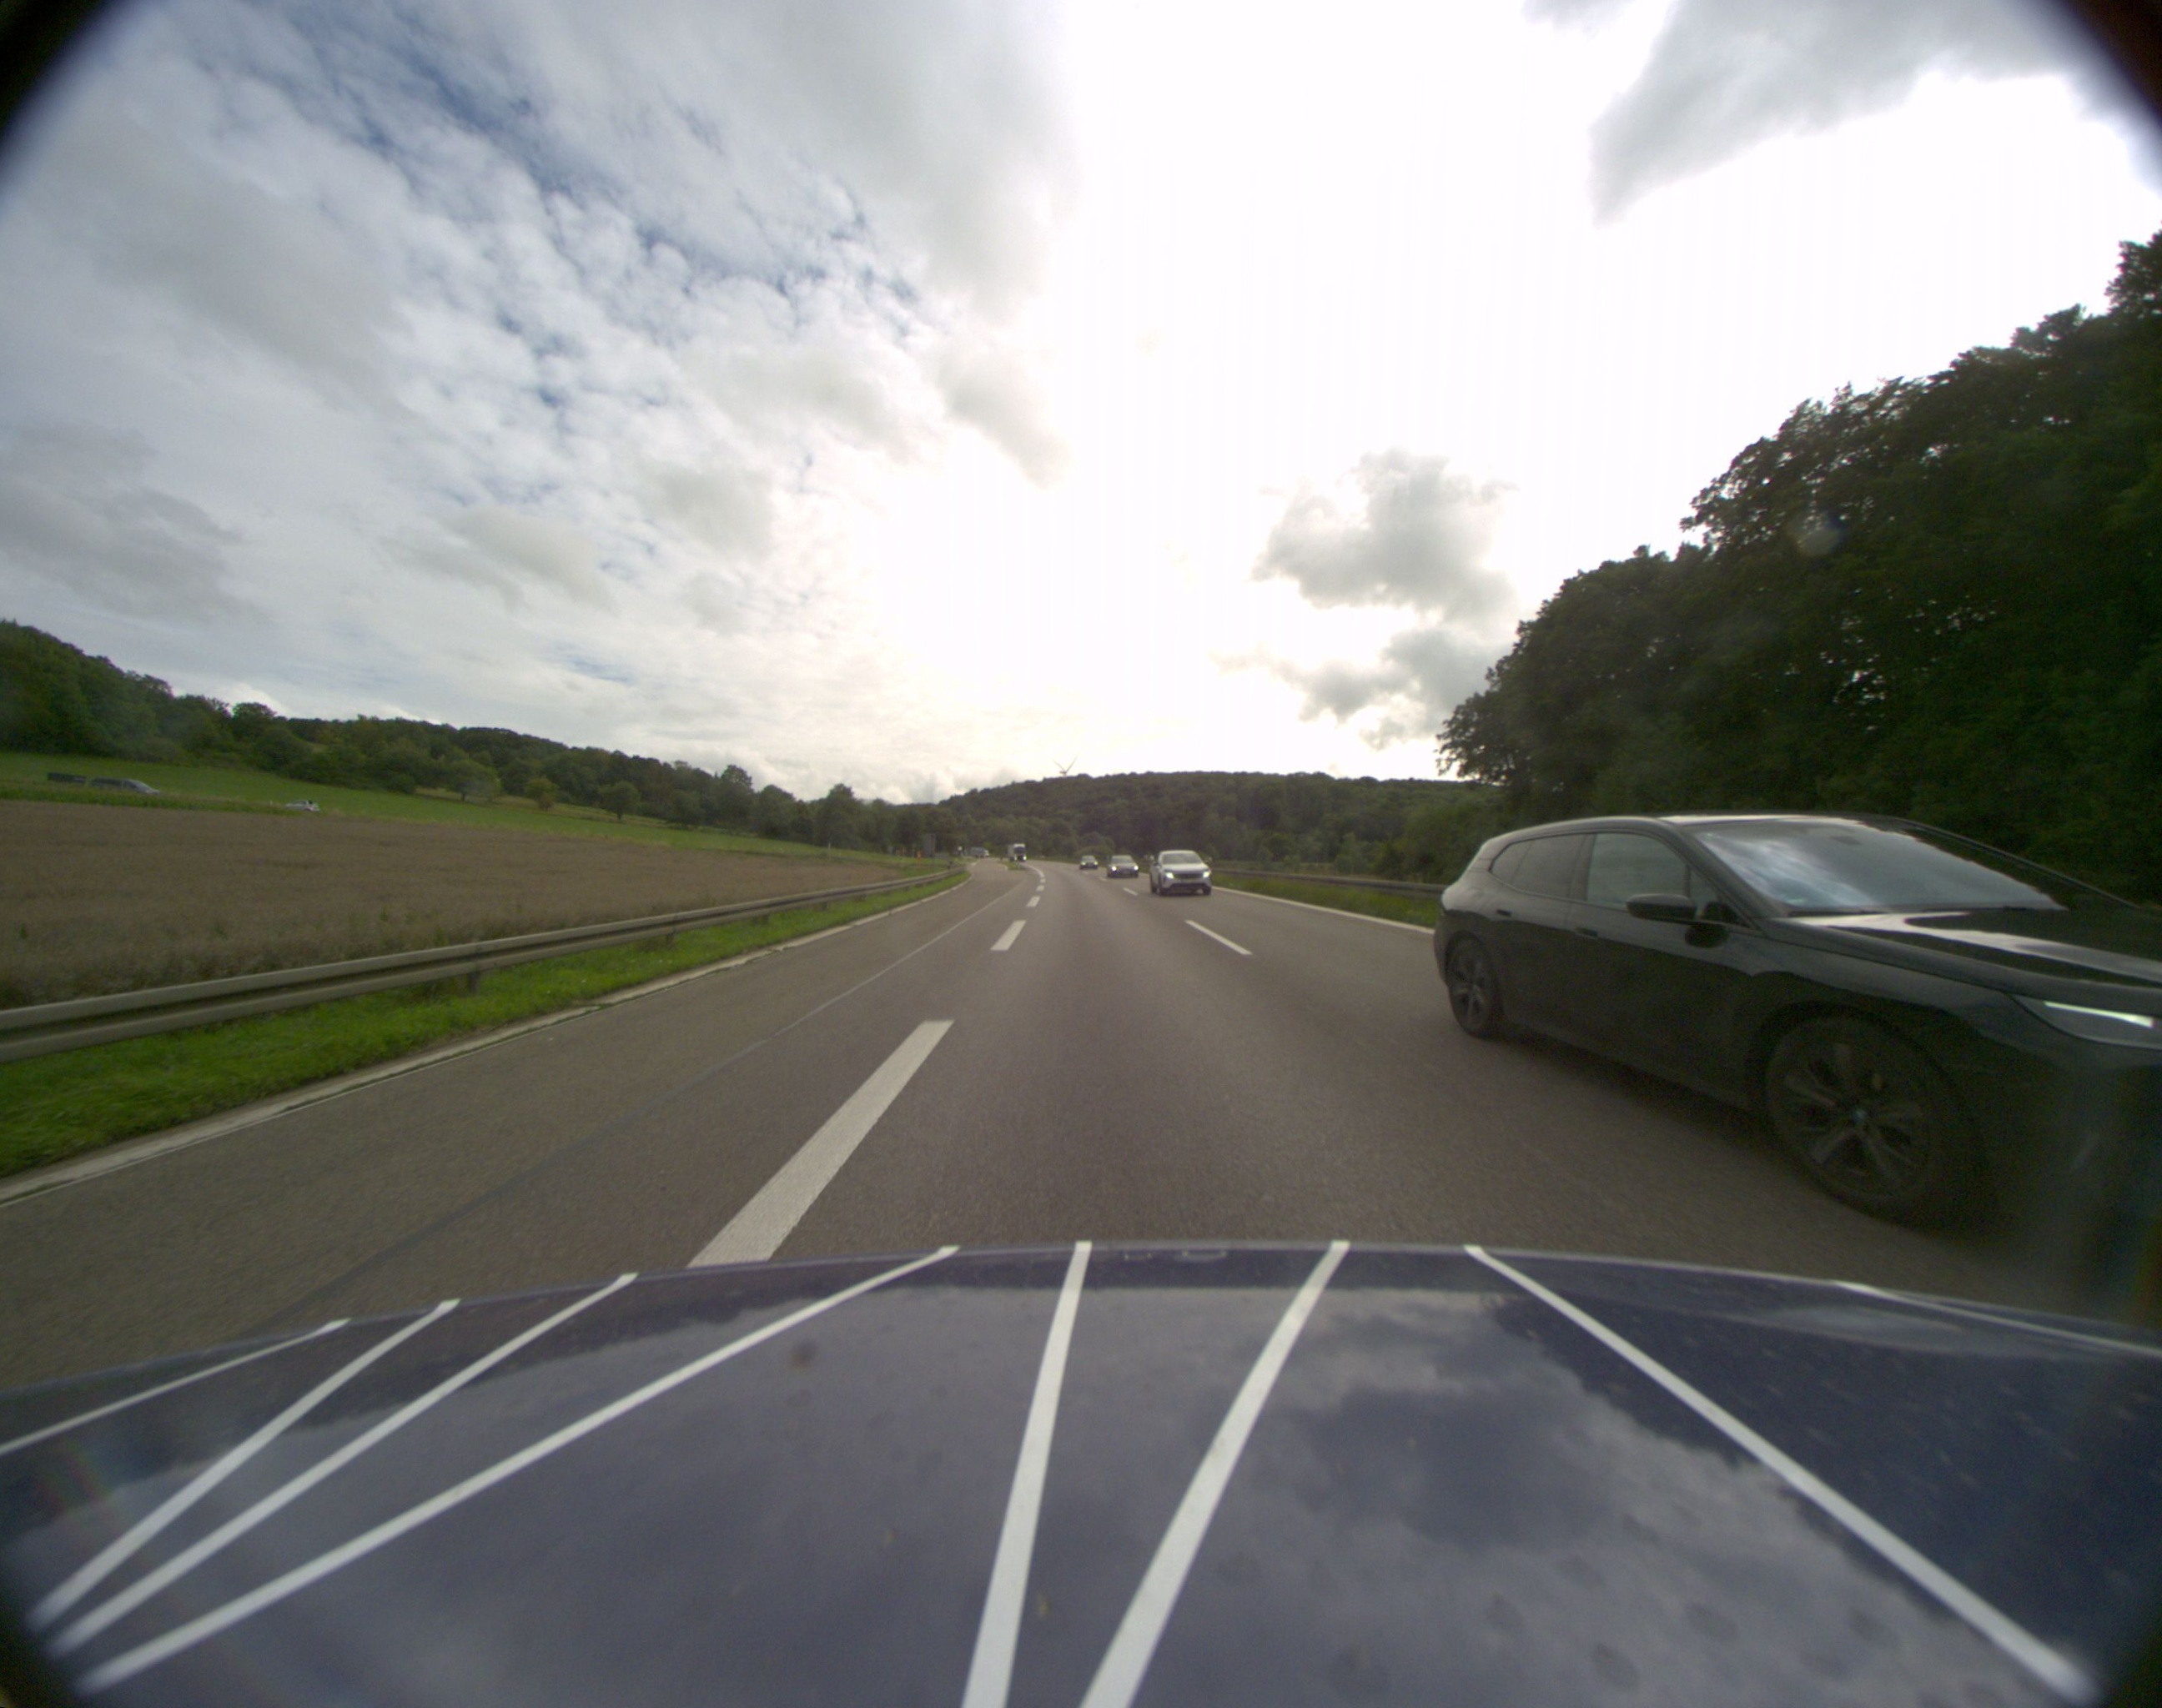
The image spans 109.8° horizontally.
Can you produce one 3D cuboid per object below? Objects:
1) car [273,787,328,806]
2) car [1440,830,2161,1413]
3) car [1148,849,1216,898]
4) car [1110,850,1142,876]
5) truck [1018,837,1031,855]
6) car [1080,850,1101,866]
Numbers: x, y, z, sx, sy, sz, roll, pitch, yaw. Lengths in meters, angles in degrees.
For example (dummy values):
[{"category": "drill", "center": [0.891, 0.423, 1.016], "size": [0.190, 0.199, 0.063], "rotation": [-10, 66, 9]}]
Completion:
[{"category": "car", "center": [-91.848, -6.744, 89.462], "size": [4.004, 1.542, 1.781], "rotation": [7, -3, -17]}, {"category": "car", "center": [3.997, 0.741, 4.005], "size": [1.999, 1.656, 4.414], "rotation": [-1, 0, -2]}, {"category": "car", "center": [3.783, 0.718, 29.267], "size": [1.998, 1.656, 4.415], "rotation": [-3, 0, 1]}, {"category": "car", "center": [3.061, 0.588, 52.426], "size": [1.998, 1.656, 4.413], "rotation": [0, 1, 0]}, {"category": "truck", "center": [-12.856, -1.776, 171.853], "size": [2.796, 3.949, 5.935], "rotation": [0, 2, -5]}, {"category": "car", "center": [1.010, 0.413, 83.101], "size": [1.999, 1.656, 4.412], "rotation": [0, 2, -3]}]
